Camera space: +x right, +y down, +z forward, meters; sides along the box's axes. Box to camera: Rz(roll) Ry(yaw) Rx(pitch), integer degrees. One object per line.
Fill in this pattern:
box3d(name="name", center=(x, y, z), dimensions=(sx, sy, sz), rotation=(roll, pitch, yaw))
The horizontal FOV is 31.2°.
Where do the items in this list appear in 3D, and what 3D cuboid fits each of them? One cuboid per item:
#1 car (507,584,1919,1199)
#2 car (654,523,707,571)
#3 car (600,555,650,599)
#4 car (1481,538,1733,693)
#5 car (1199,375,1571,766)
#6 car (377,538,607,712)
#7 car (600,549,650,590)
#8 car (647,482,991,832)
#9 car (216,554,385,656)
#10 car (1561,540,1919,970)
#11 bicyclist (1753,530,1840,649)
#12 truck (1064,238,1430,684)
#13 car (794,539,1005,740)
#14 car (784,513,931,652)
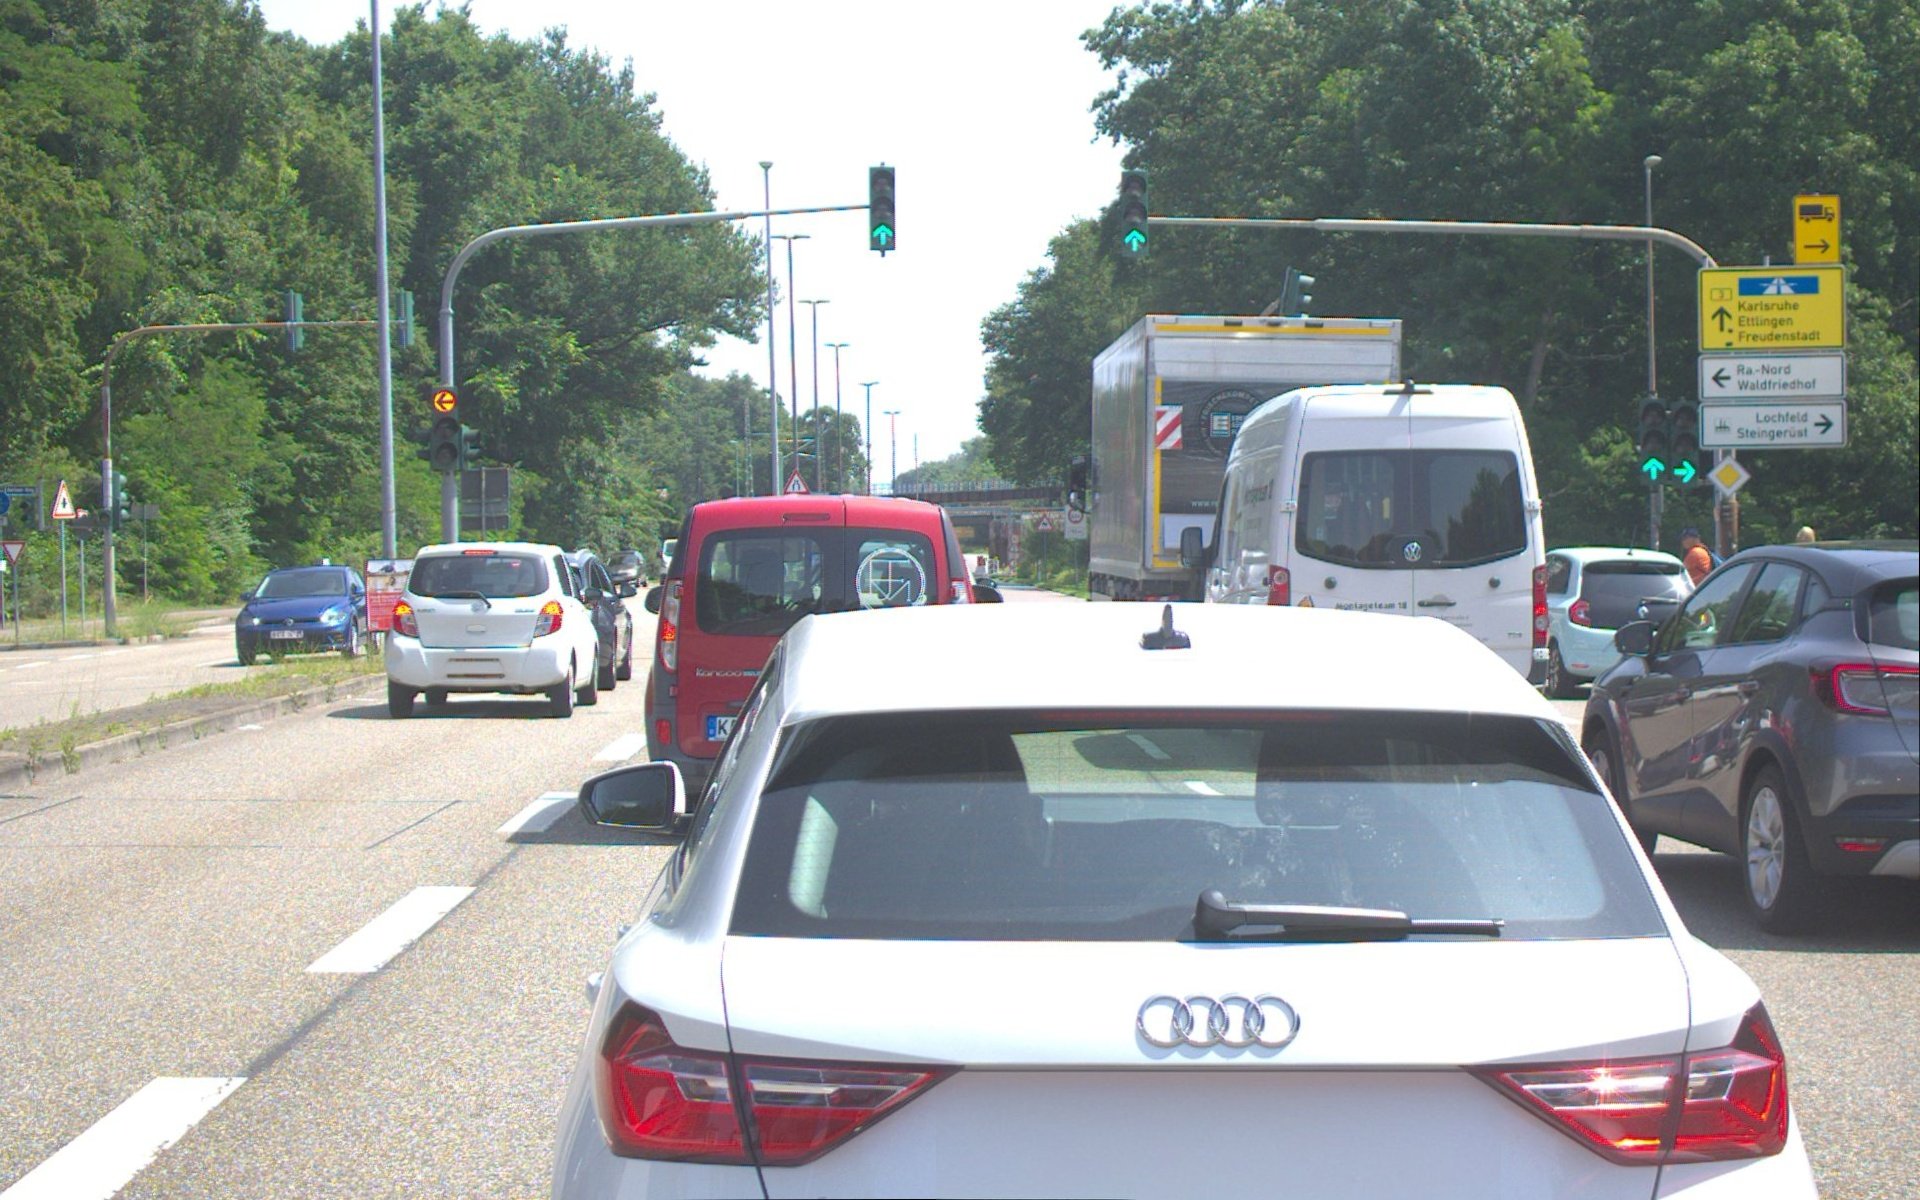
box3d(name="car", center=(0.240, 0.688, 6.090), dimensions=(1.711, 1.381, 4.092), rotation=(0, 1, -2))
box3d(name="car", center=(-11.260, -2.130, 138.604), dimensions=(1.872, 1.854, 4.000), rotation=(-1, 1, -2))
box3d(name="car", center=(-14.635, -1.013, 150.191), dimensions=(1.872, 1.854, 4.000), rotation=(-1, 1, -2))
box3d(name="car", center=(6.721, 0.116, 36.117), dimensions=(1.711, 1.541, 4.092), rotation=(0, 1, -2))
box3d(name="car", center=(3.036, -0.240, 25.620), dimensions=(2.031, 2.635, 4.846), rotation=(0, 1, -2))
box3d(name="car", center=(-4.217, 0.180, 31.505), dimensions=(1.711, 1.487, 4.092), rotation=(0, 1, -2))
box3d(name="car", center=(-14.600, -1.351, 149.983), dimensions=(1.830, 1.722, 4.000), rotation=(-1, 1, -1))
box3d(name="car", center=(-0.789, 0.250, 19.179), dimensions=(1.711, 1.742, 4.092), rotation=(0, 1, -2))
box3d(name="car", center=(-9.957, 0.046, 52.190), dimensions=(1.804, 1.331, 4.000), rotation=(-4, 1, -2))
box3d(name="car", center=(3.882, 0.538, 14.780), dimensions=(1.711, 1.587, 4.092), rotation=(0, 1, -2))
box3d(name="bicyclist", center=(10.236, -0.130, 42.080), dimensions=(0.828, 1.434, 0.598), rotation=(0, 1, 45))
box3d(name="truck", center=(3.033, -1.486, 40.045), dimensions=(3.088, 4.418, 11.581), rotation=(0, 1, -1))
box3d(name="car", center=(-0.580, 0.284, 29.942), dimensions=(1.711, 1.626, 4.092), rotation=(0, 1, -2))
box3d(name="car", center=(-1.287, -0.237, 42.267), dimensions=(1.711, 1.626, 4.092), rotation=(0, 1, -2))
